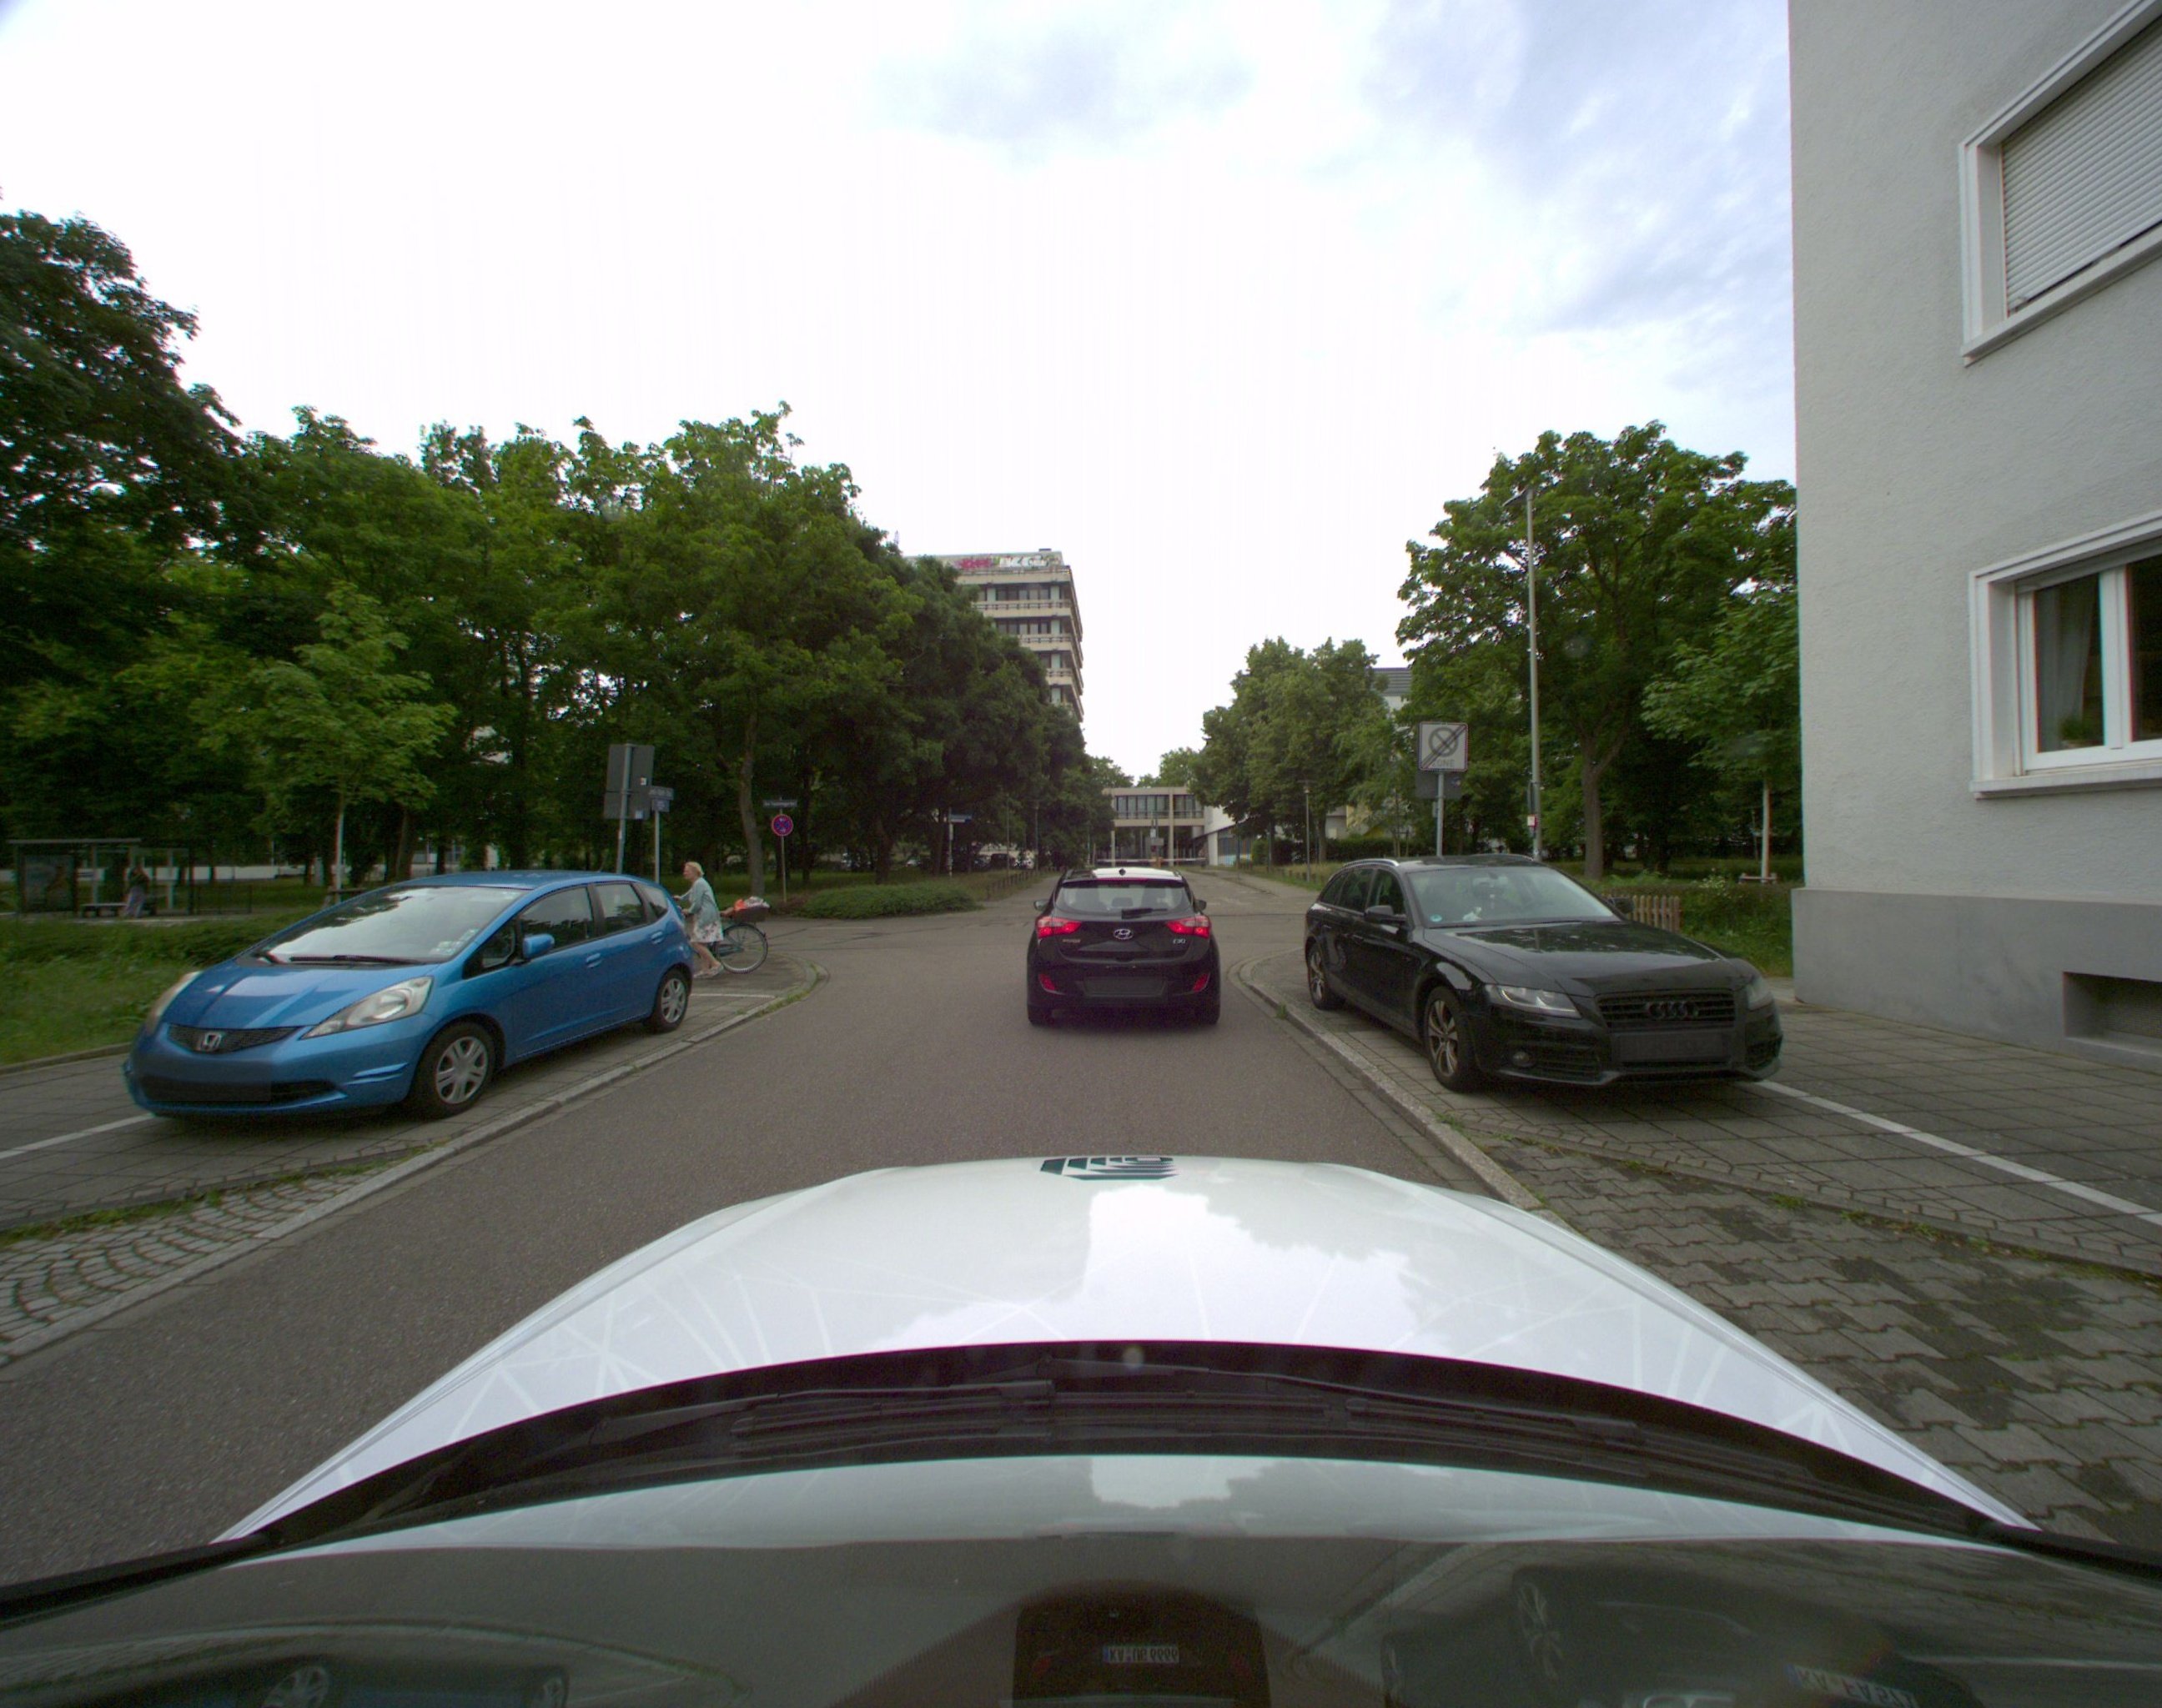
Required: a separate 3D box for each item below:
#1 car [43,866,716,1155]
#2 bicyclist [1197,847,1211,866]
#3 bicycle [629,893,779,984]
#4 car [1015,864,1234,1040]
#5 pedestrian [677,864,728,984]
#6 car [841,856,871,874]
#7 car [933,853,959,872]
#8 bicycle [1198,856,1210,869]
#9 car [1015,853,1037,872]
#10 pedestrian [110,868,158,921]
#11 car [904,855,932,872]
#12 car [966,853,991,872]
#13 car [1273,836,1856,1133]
[{"bbox_3d":[-4.671,0.873,6.368,1.724,1.462,3.958,1,0,1],"label":"car"},{"bbox_3d":[10.438,0.220,69.198,1.013,1.644,0.924,-1,0,2],"label":"bicyclist"},{"bbox_3d":[-5.154,1.126,11.198,1.823,1.119,0.533,1,0,-29],"label":"bicycle"},{"bbox_3d":[0.361,0.845,8.799,1.840,1.462,3.826,-1,-1,-1],"label":"car"},{"bbox_3d":[-5.064,0.913,10.890,0.569,1.550,0.444,-1,0,-30],"label":"pedestrian"},{"bbox_3d":[-21.827,1.070,79.211,1.913,1.618,3.997,-1,0,-2],"label":"car"},{"bbox_3d":[-12.958,0.873,78.409,1.988,1.728,3.996,-1,-2,-2],"label":"car"},{"bbox_3d":[10.443,0.682,69.197,0.863,1.074,2.143,-1,0,3],"label":"bicycle"},{"bbox_3d":[-5.273,0.802,78.620,1.988,1.762,3.996,-1,-1,-2],"label":"car"},{"bbox_3d":[-29.333,1.238,25.220,0.693,1.583,0.656,-1,0,3],"label":"pedestrian"},{"bbox_3d":[-15.666,0.904,78.541,1.988,1.618,3.997,-1,0,-2],"label":"car"},{"bbox_3d":[-9.852,0.847,78.666,1.988,1.794,3.996,-1,-2,-2],"label":"car"},{"bbox_3d":[3.051,0.678,6.554,1.854,1.462,4.724,-2,0,0],"label":"car"}]
